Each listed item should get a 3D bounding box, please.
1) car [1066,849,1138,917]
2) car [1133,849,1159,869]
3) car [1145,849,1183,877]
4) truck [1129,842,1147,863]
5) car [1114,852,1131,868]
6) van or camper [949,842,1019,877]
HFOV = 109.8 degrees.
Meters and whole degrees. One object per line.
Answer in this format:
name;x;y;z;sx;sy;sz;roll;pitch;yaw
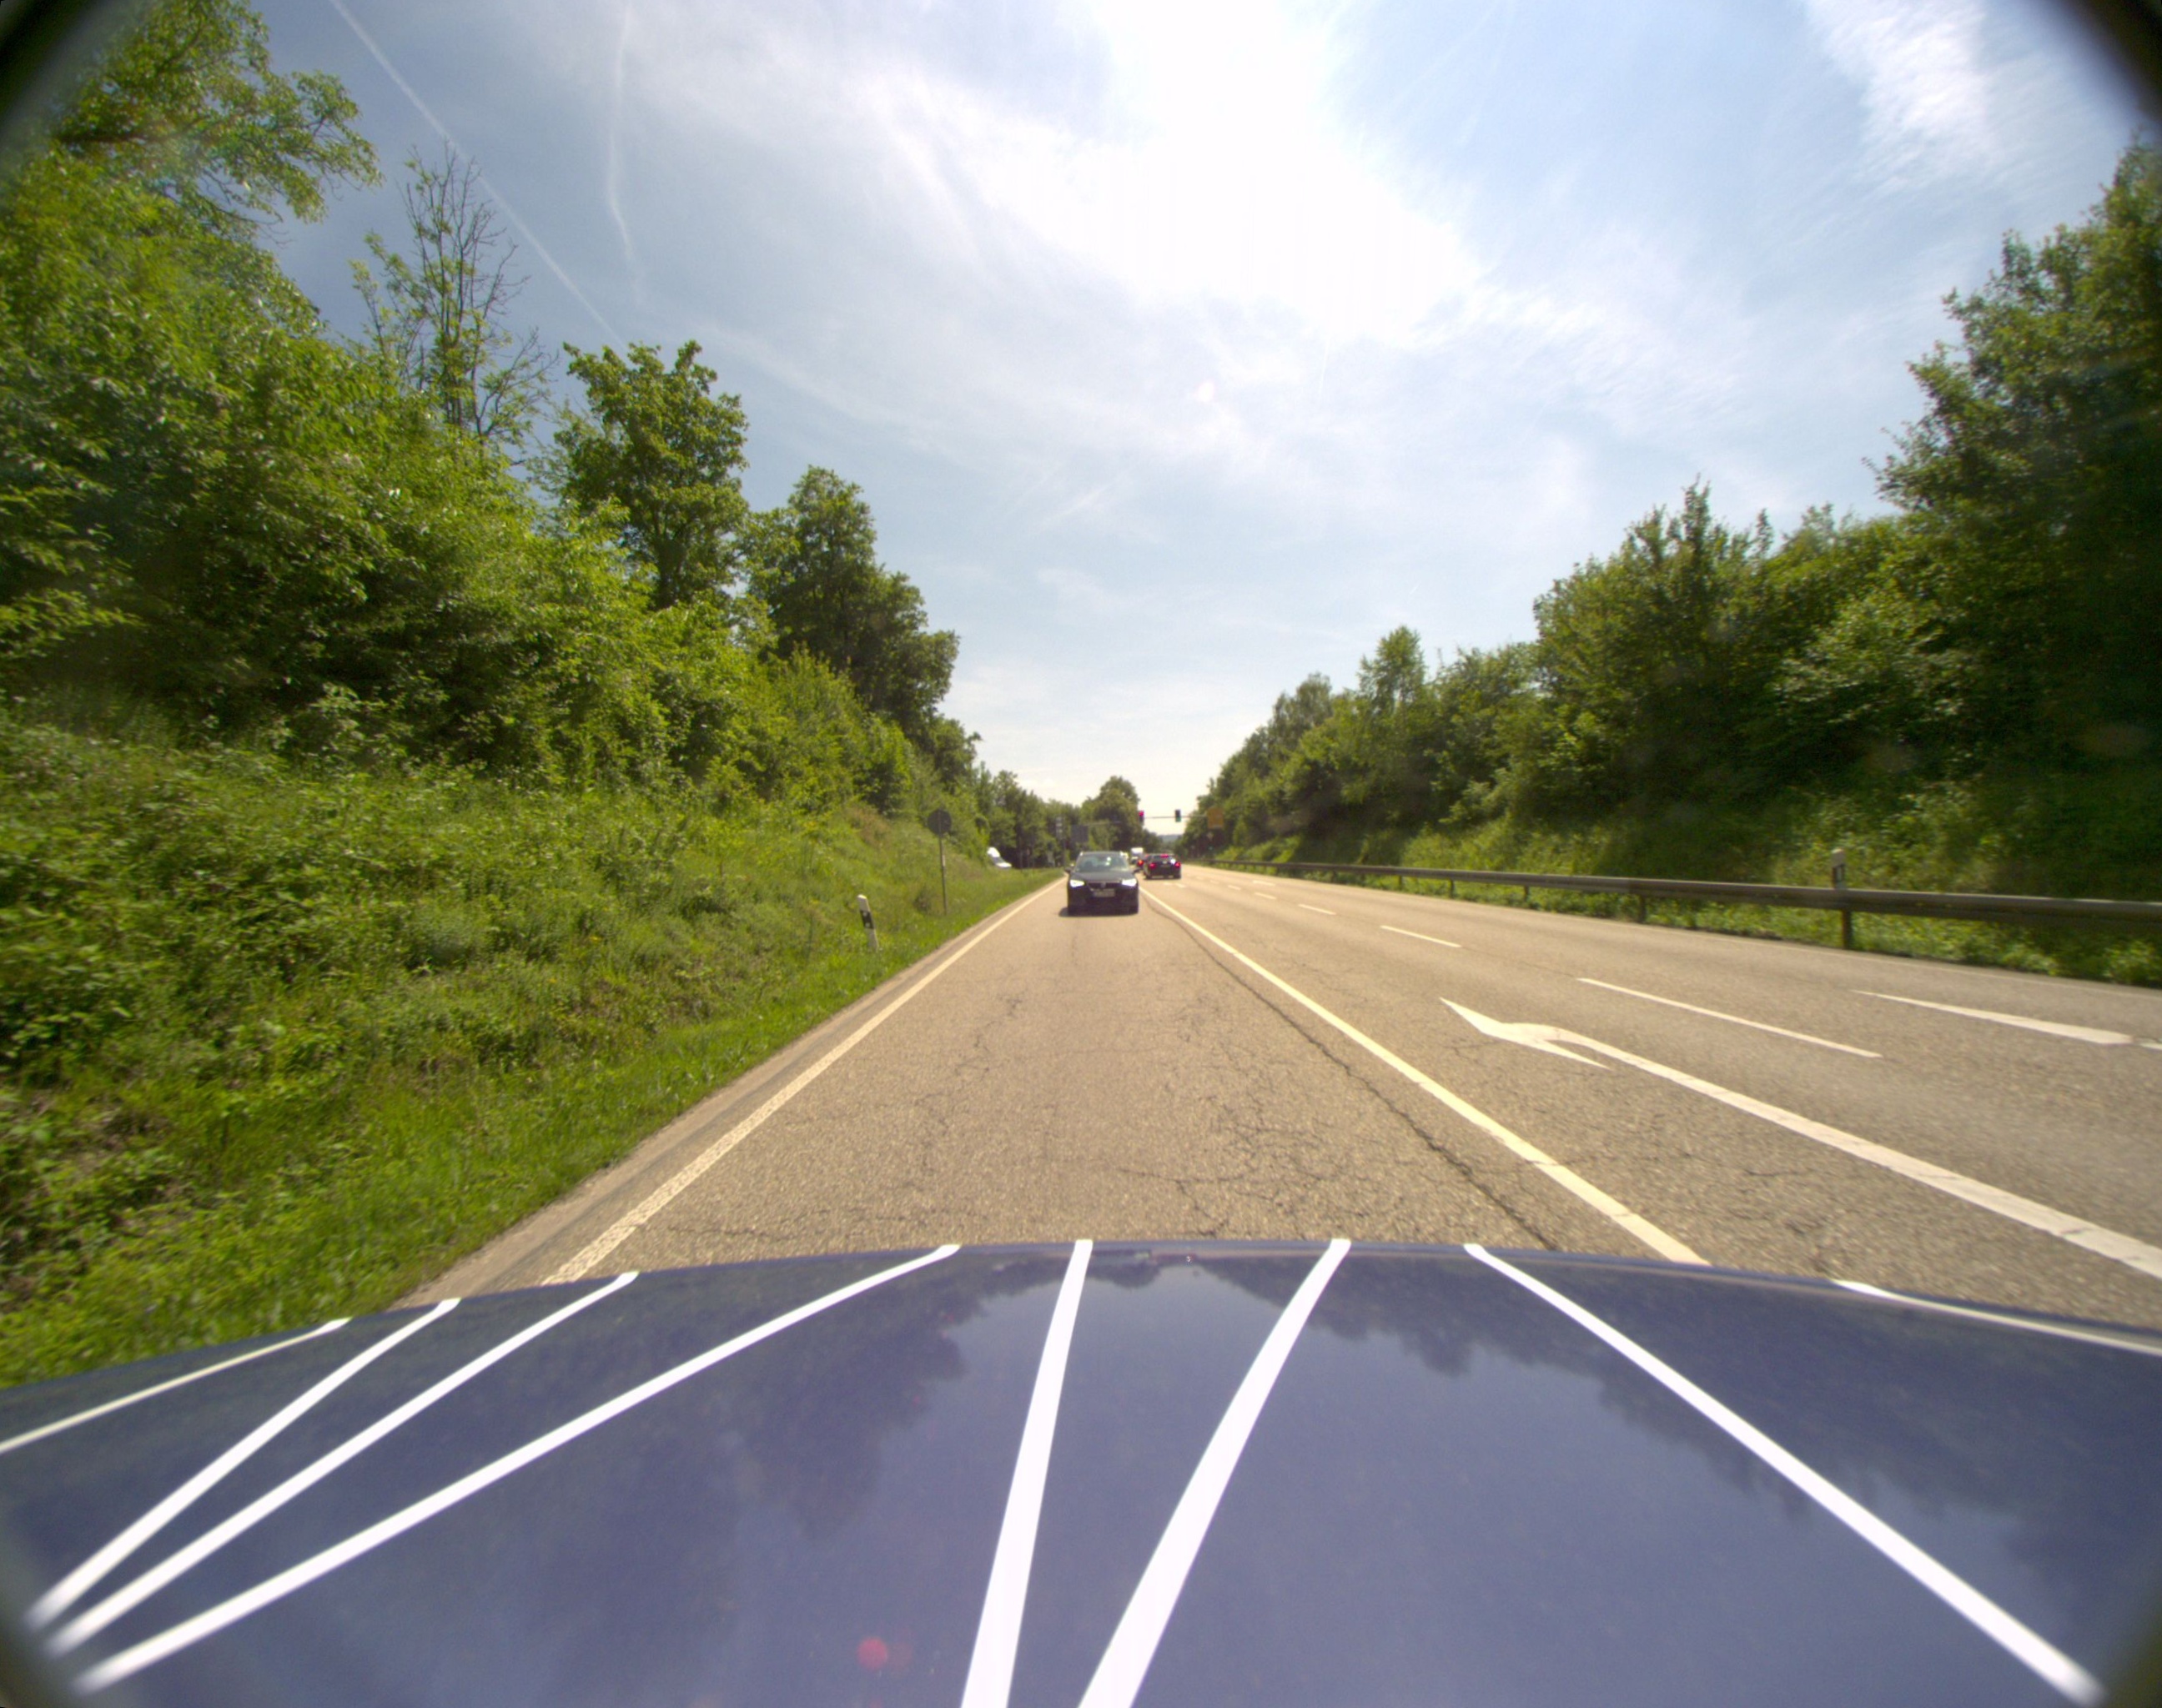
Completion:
car;0.570;0.661;19.607;1.626;1.535;4.000;-2;1;2
car;5.173;0.386;60.872;1.786;1.438;4.641;-2;0;1
car;4.674;0.453;43.351;1.808;1.445;4.387;-2;0;3
truck;11.415;-0.420;151.376;2.838;3.795;8.454;-3;1;9
car;5.767;0.826;105.387;1.997;2.002;4.002;-4;0;7
van or camper;-10.354;0.586;80.856;7.236;3.193;2.108;-4;1;29
